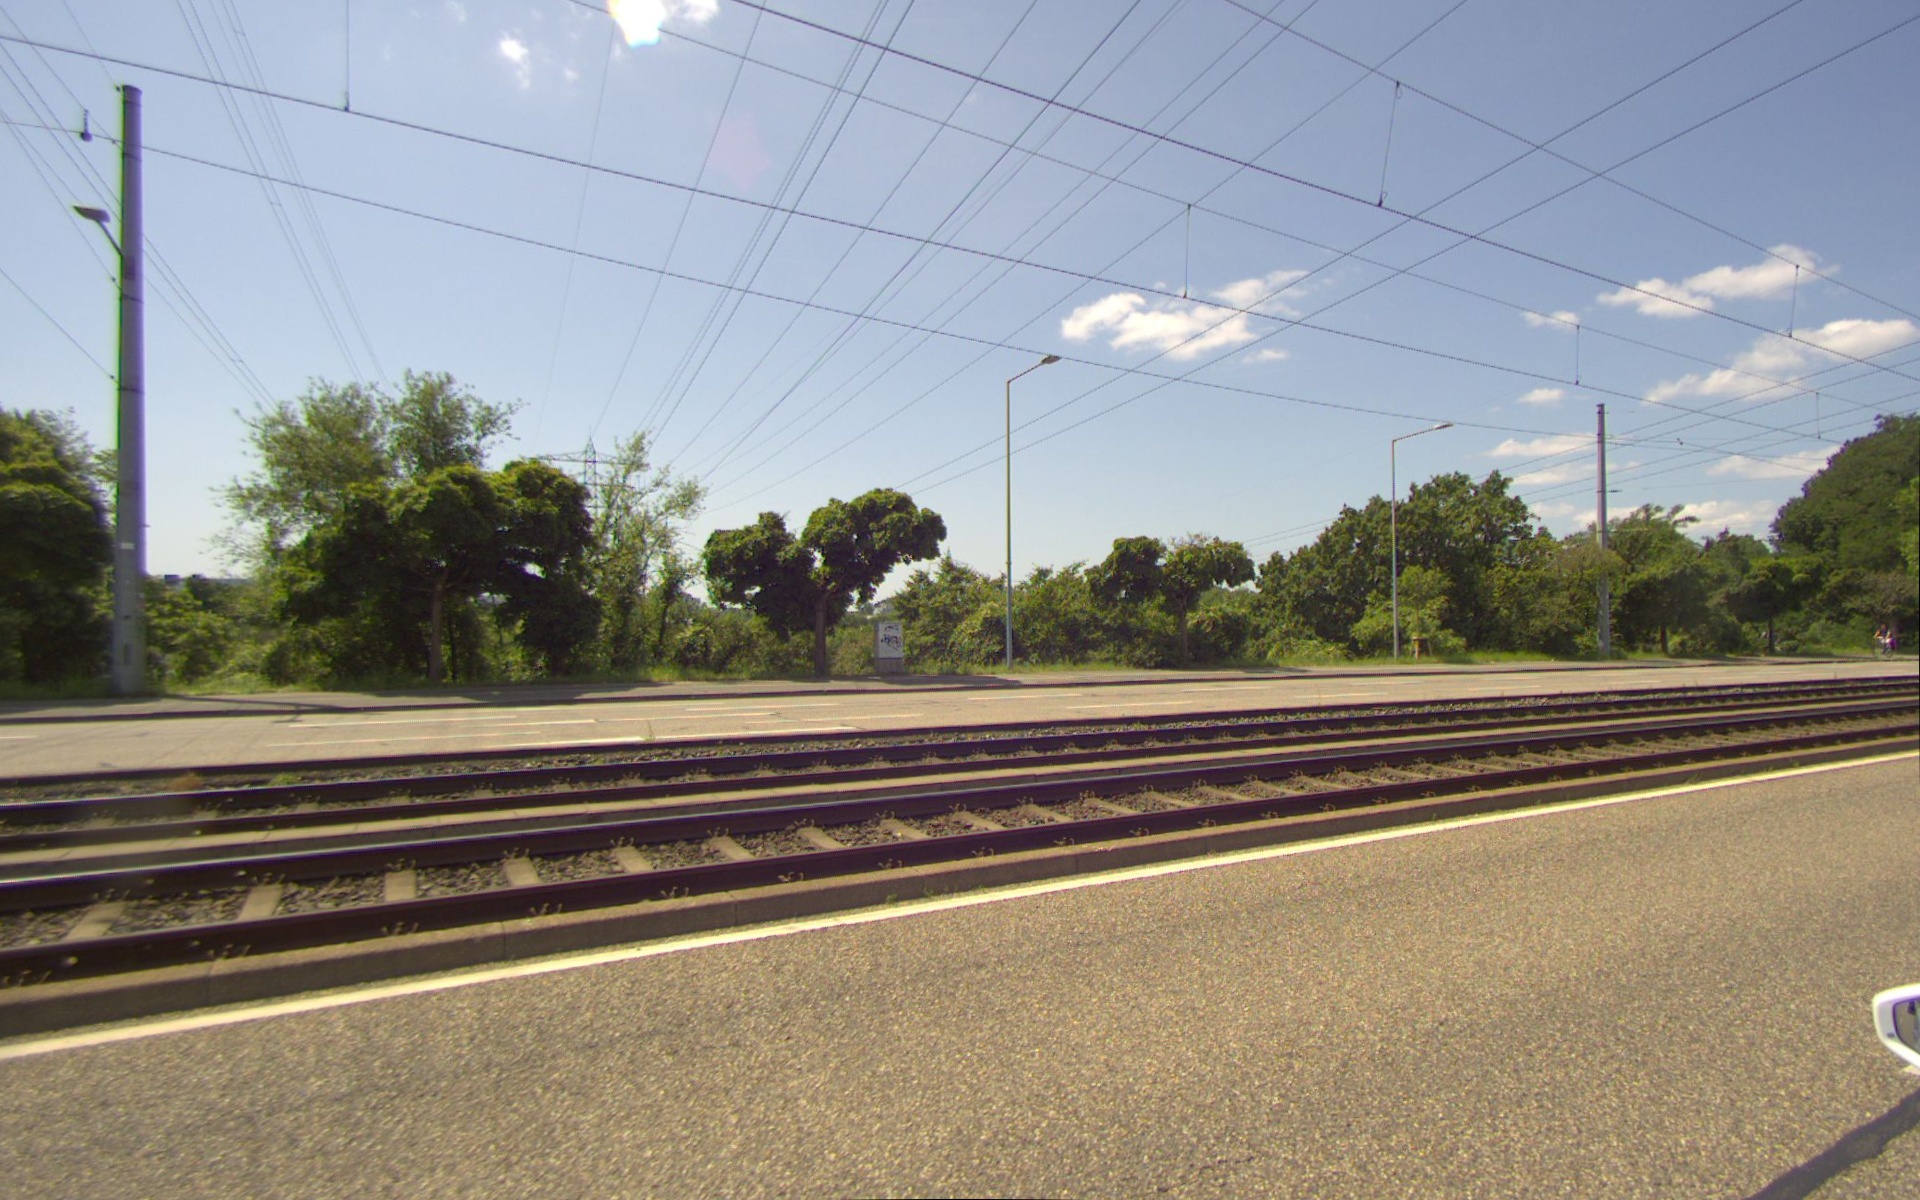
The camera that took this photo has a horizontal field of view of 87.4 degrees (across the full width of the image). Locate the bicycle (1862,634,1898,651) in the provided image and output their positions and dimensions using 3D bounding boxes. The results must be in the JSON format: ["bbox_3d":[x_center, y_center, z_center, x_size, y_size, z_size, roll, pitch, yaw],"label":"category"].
[{"bbox_3d":[48.302,2.222,52.737,2.092,0.871,0.648,1,1,-26],"label":"bicycle"}]

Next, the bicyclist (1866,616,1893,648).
[{"bbox_3d":[48.229,1.687,52.690,1.140,1.642,0.648,1,1,-26],"label":"bicyclist"}]
